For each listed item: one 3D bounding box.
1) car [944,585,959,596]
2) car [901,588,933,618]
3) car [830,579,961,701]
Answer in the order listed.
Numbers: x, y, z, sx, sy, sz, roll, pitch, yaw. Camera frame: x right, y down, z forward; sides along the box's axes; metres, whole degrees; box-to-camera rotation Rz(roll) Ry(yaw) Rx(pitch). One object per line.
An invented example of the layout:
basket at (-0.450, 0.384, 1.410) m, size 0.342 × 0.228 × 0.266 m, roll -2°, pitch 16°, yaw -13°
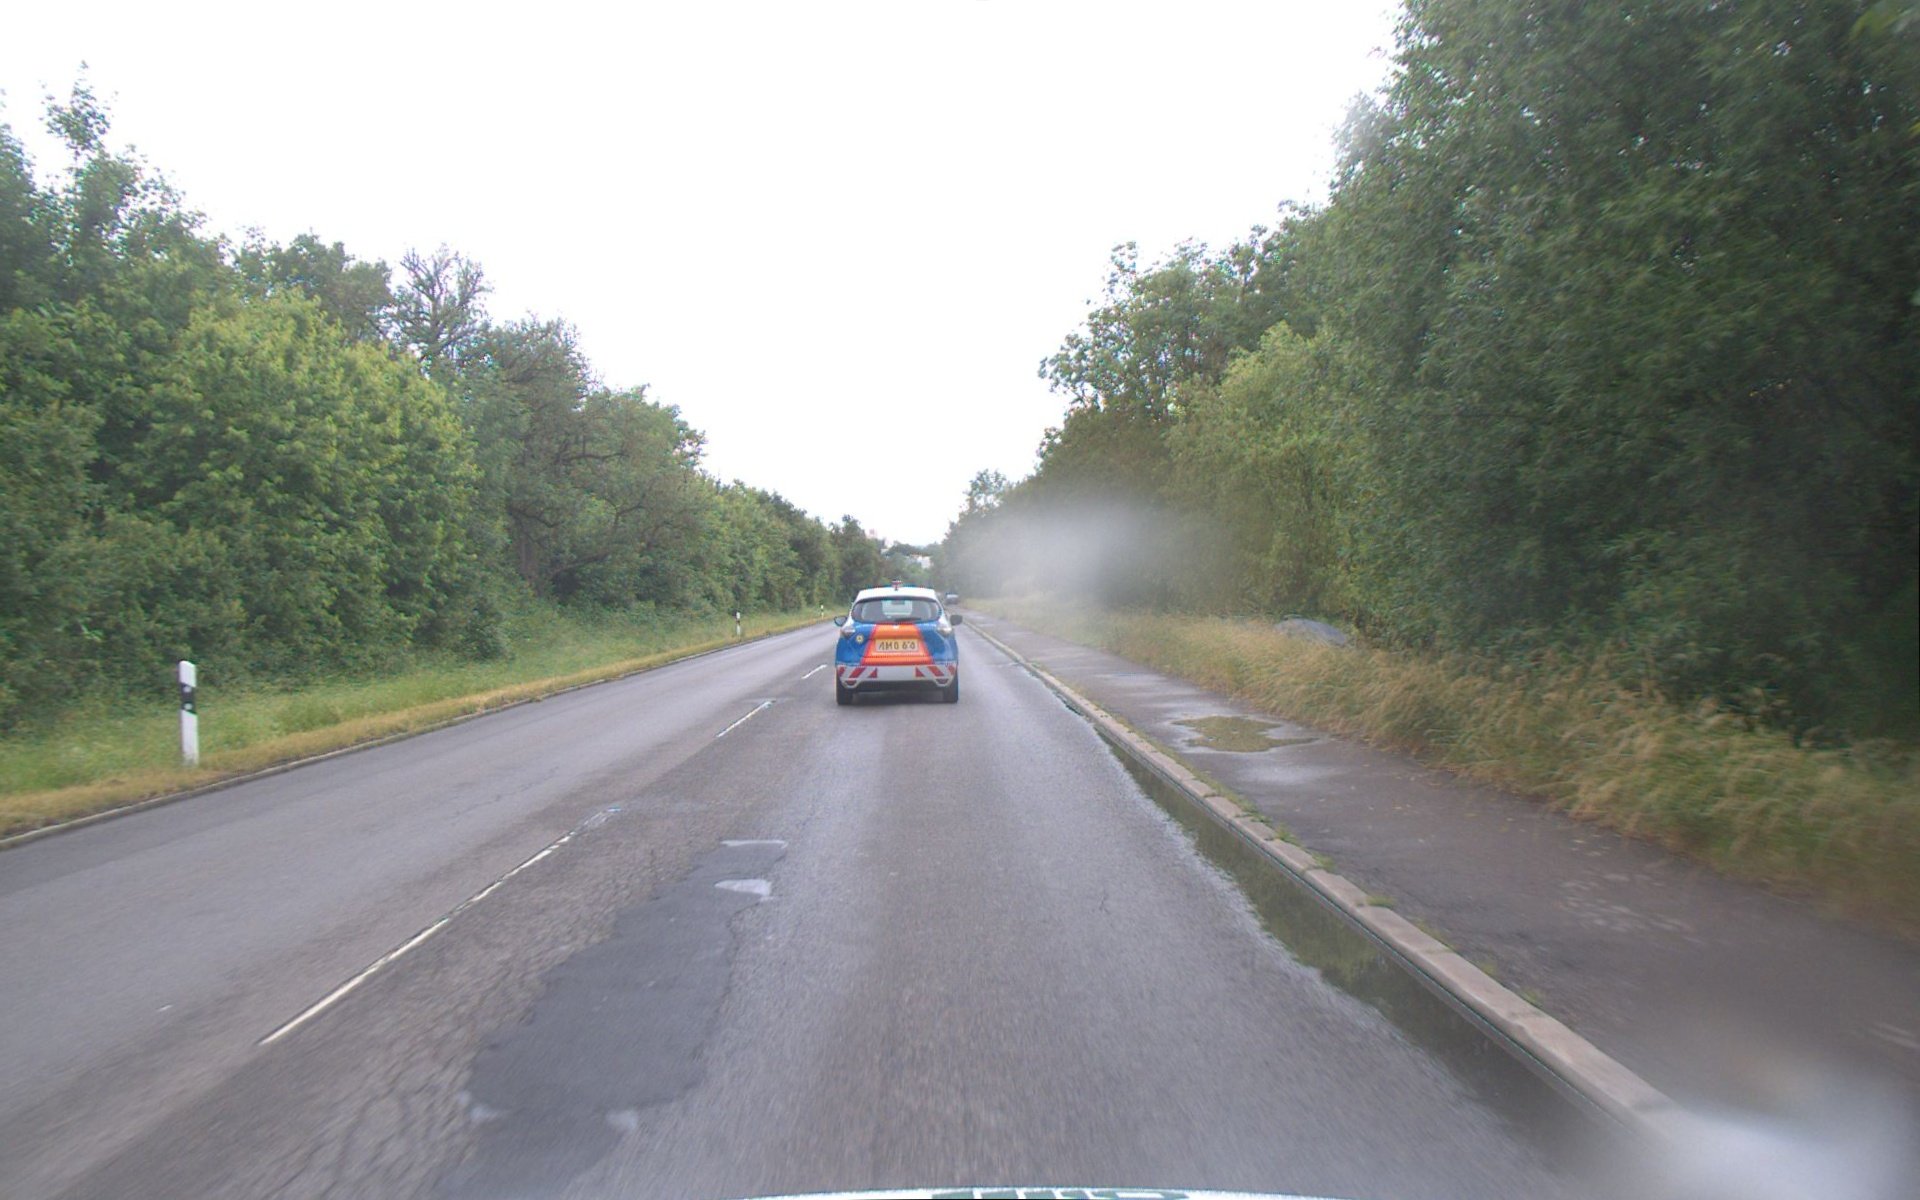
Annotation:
car at (-1.156, -1.223, 220.172) m, size 1.953 × 1.400 × 3.999 m, roll -3°, pitch 0°, yaw -1°
car at (-2.739, 0.146, 105.111) m, size 1.902 × 1.753 × 4.062 m, roll -3°, pitch 1°, yaw -1°
car at (-0.897, 0.502, 23.766) m, size 1.716 × 1.583 × 3.791 m, roll -1°, pitch 1°, yaw -1°
